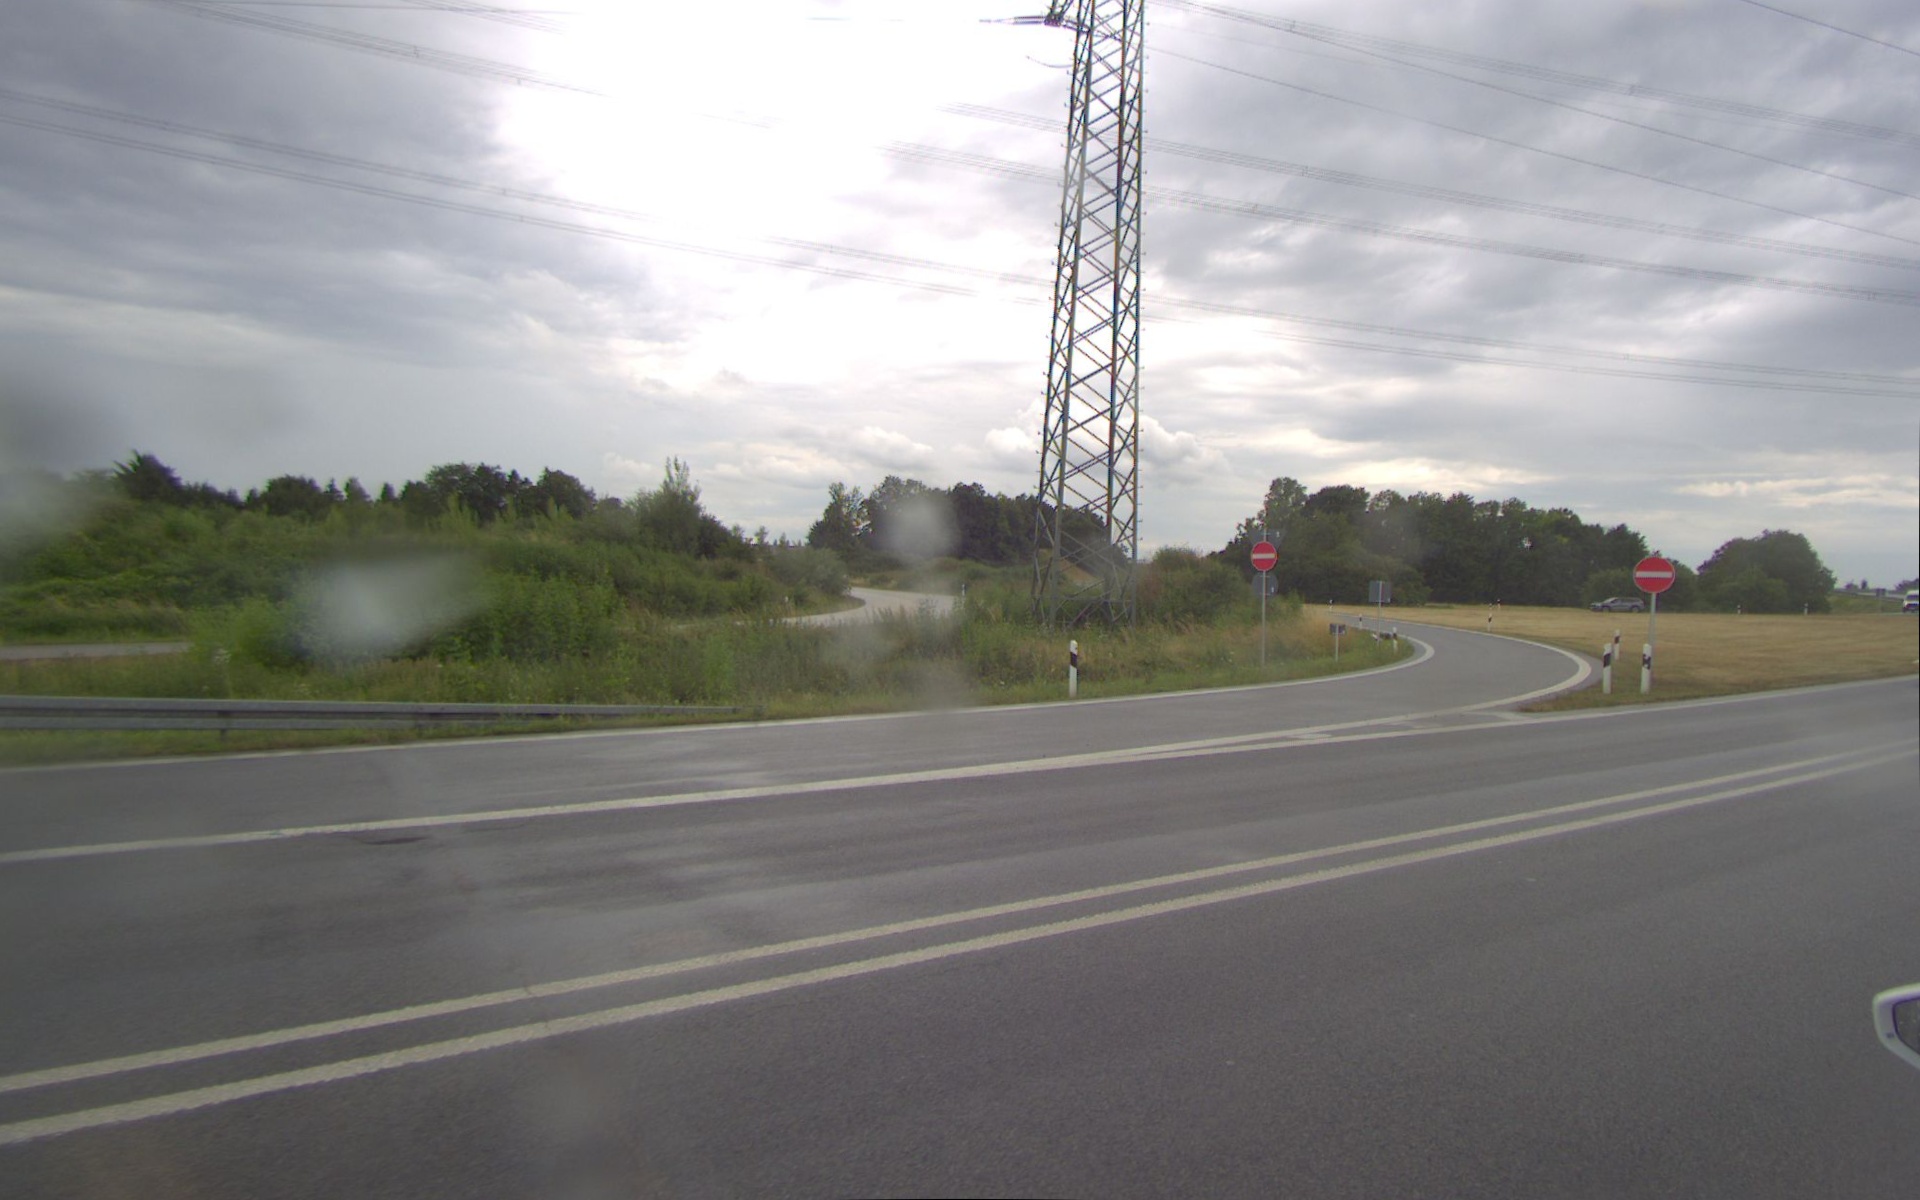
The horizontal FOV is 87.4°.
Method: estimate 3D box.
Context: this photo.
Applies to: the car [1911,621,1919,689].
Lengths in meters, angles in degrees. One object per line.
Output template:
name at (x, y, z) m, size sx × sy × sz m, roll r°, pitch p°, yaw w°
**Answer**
car at (24.998, 1.390, 24.791) m, size 4.192 × 1.615 × 1.784 m, roll 2°, pitch -1°, yaw -41°
